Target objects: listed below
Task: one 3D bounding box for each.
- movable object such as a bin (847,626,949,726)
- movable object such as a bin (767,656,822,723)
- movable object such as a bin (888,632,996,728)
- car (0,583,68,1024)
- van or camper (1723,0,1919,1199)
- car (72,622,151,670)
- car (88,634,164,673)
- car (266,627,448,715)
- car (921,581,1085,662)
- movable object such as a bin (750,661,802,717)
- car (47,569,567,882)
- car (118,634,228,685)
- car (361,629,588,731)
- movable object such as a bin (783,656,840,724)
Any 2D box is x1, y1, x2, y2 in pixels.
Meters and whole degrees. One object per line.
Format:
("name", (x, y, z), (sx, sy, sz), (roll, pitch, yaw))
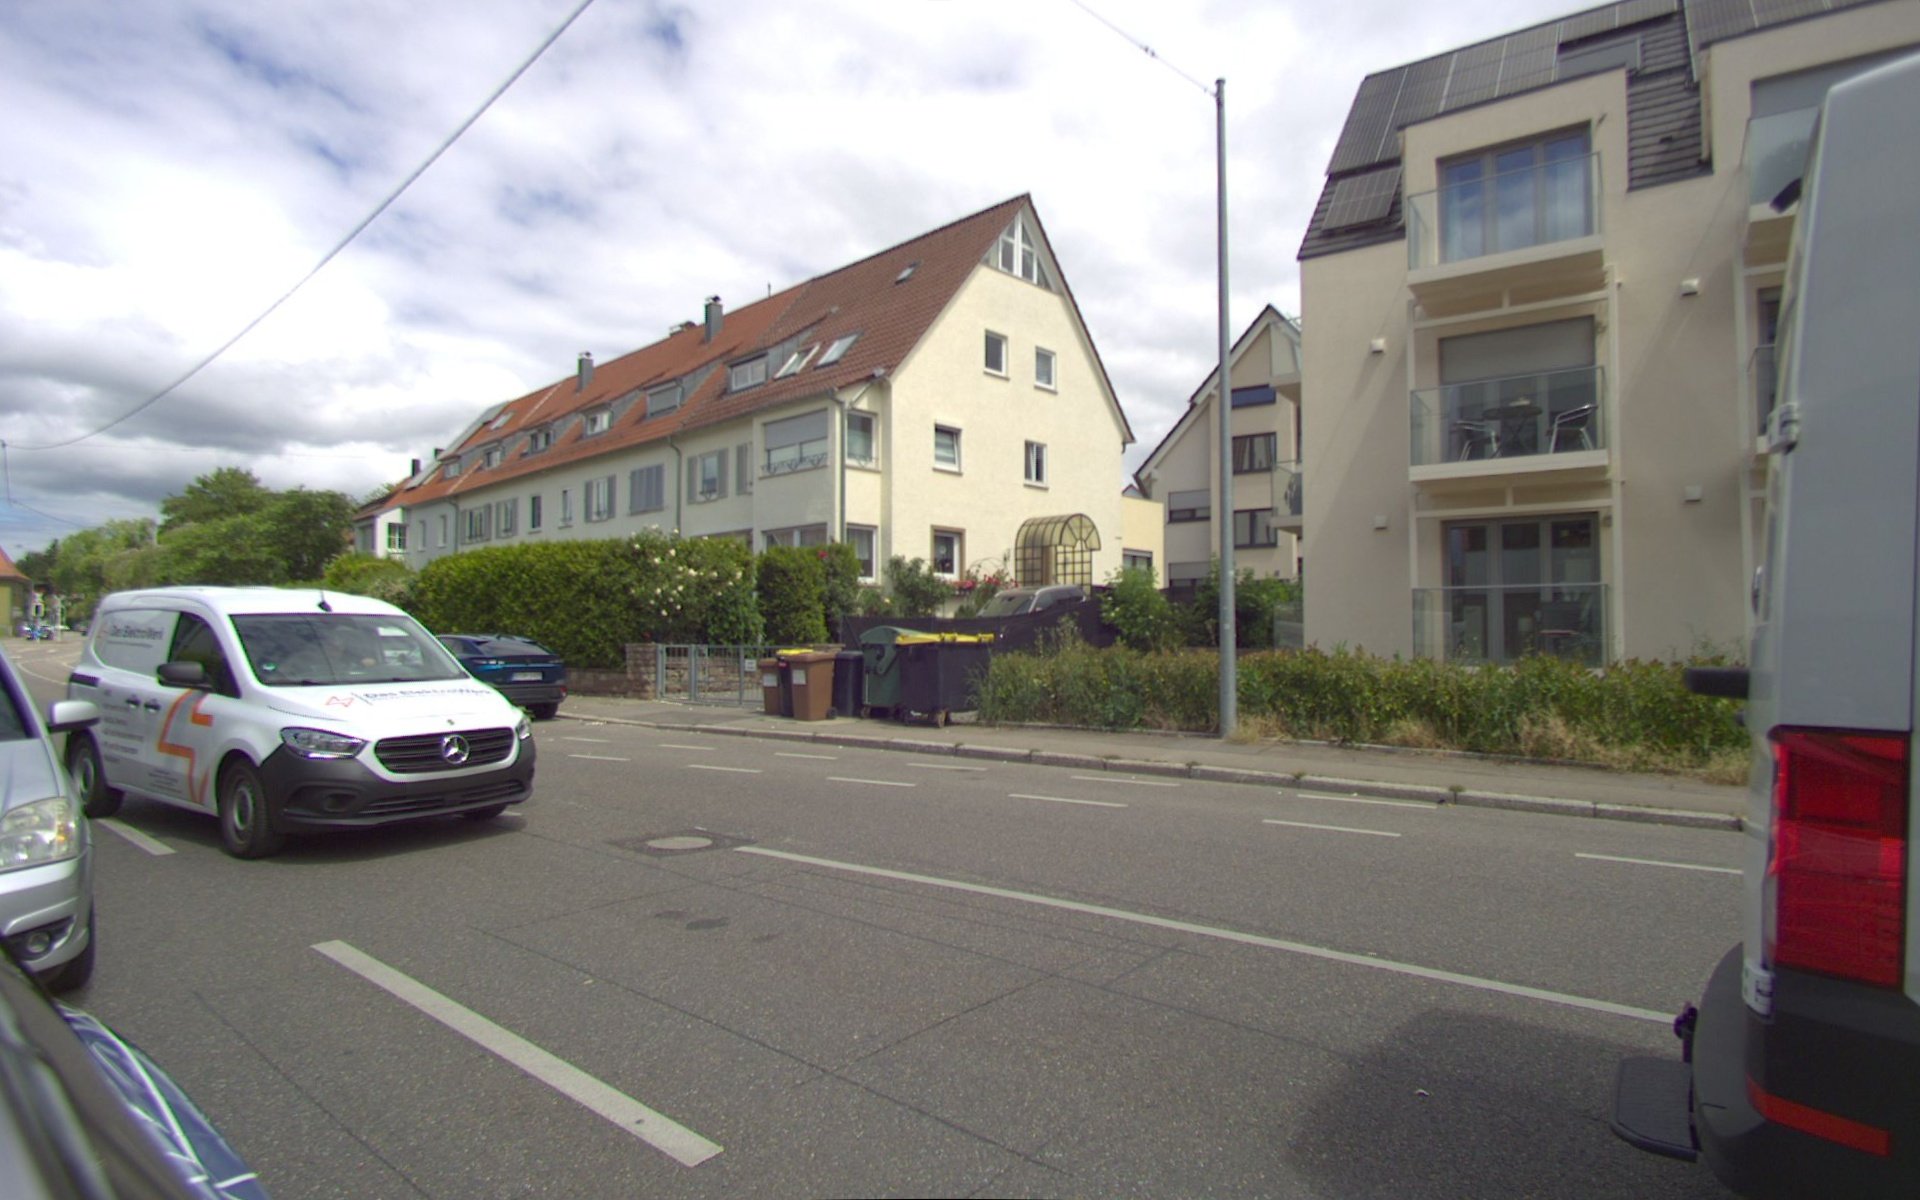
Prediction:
("movable object such as a bin", (-0.973, 1.170, 15.964), (1.213, 1.493, 1.054), (-2, -3, 39))
("movable object such as a bin", (-2.670, 1.424, 16.331), (0.658, 1.032, 0.589), (-2, -3, 41))
("movable object such as a bin", (-0.266, 1.141, 14.875), (1.214, 1.323, 1.053), (-2, -3, 43))
("car", (-5.380, 0.763, 4.624), (4.332, 1.552, 1.684), (-2, -1, 45))
("van or camper", (4.172, 0.101, 0.550), (5.918, 2.600, 2.004), (0, -2, 40))
("car", (-36.340, 1.946, 43.307), (5.405, 1.909, 1.971), (-2, -5, 44))
("car", (-32.596, 2.056, 39.516), (4.340, 1.428, 1.758), (-2, -3, 44))
("car", (-12.706, 1.402, 21.220), (4.515, 1.663, 1.972), (-1, -3, 41))
("car", (1.085, 0.489, 23.653), (1.802, 1.719, 3.946), (-2, -1, 40))
("movable object such as a bin", (-3.064, 1.466, 16.876), (0.614, 0.886, 0.589), (-2, -3, 41))
("car", (-5.051, 0.768, 7.682), (4.177, 1.784, 1.762), (-1, -2, 33))
("car", (-25.087, 1.841, 32.211), (4.561, 1.503, 1.760), (-1, -3, 39))
("car", (-8.771, 1.326, 18.143), (4.485, 1.599, 1.973), (-1, -3, 40))
("movable object such as a bin", (-2.306, 1.381, 15.731), (0.658, 1.015, 0.589), (-2, -3, 41))
